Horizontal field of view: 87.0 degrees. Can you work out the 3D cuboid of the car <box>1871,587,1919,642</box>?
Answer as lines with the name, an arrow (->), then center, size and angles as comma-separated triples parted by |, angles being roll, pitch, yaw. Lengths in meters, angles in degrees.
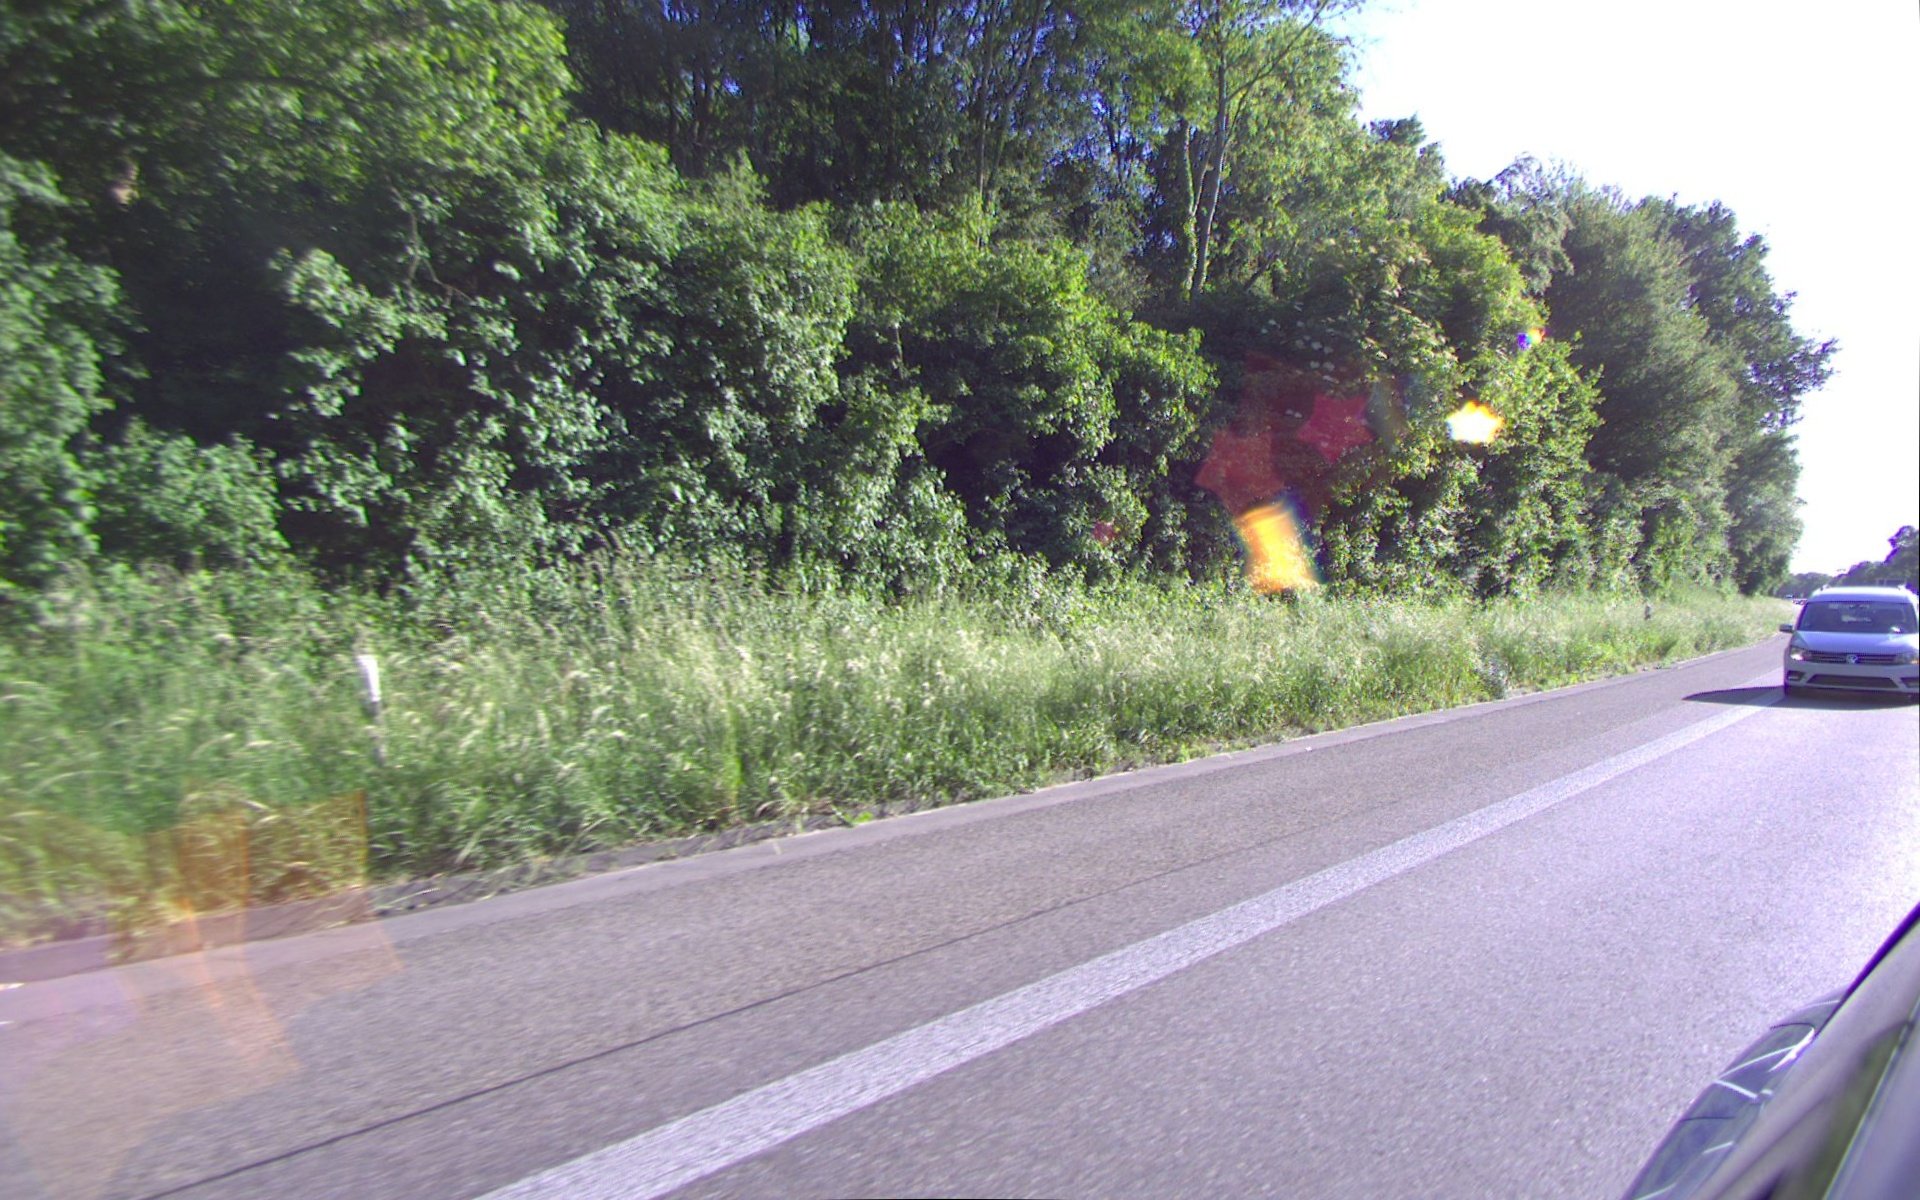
car -> 37.184, 0.514, 39.598 | 2.250, 1.876, 5.065 | 0, 2, 43

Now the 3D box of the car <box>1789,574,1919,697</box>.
car -> 15.488, 0.501, 17.140 | 1.796, 1.829, 4.755 | 0, 1, 45
